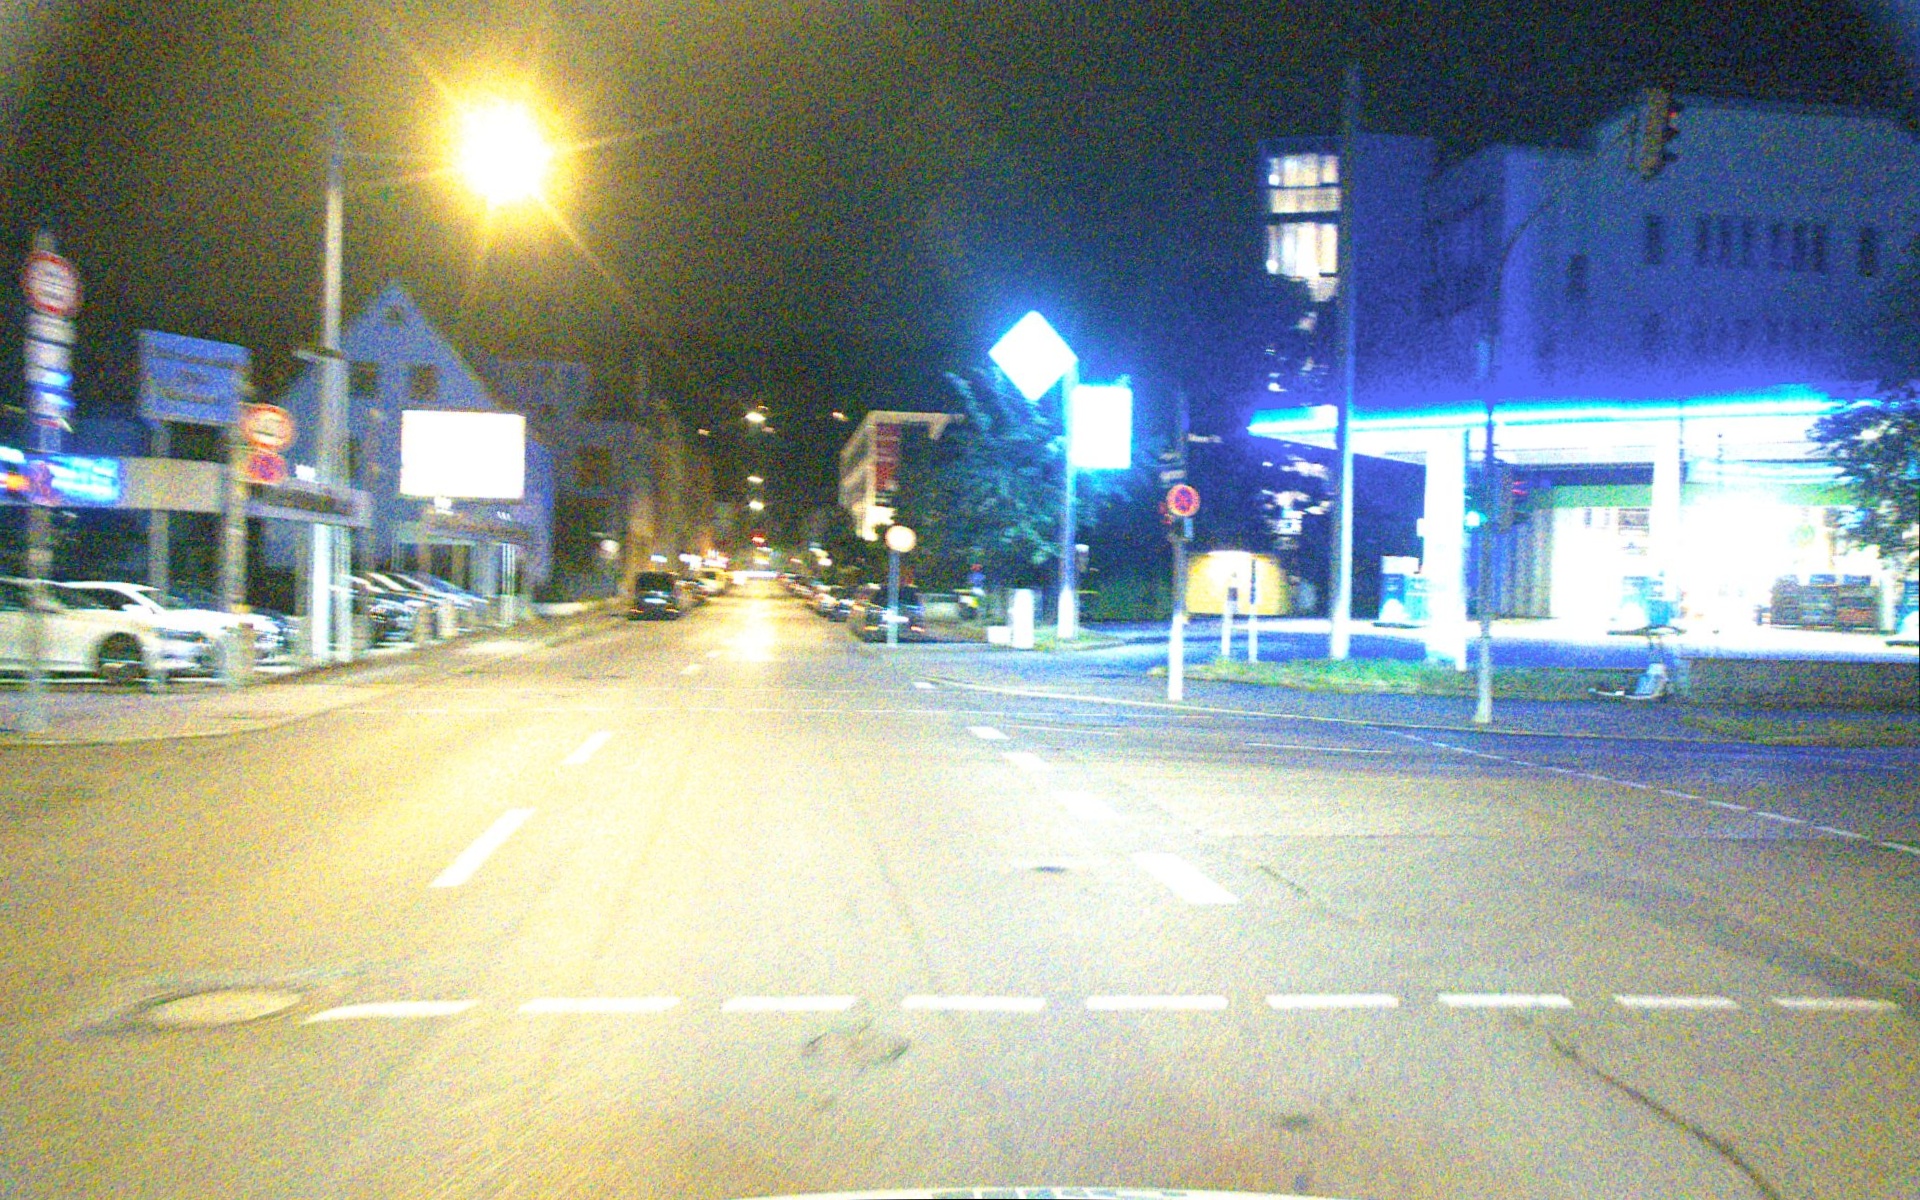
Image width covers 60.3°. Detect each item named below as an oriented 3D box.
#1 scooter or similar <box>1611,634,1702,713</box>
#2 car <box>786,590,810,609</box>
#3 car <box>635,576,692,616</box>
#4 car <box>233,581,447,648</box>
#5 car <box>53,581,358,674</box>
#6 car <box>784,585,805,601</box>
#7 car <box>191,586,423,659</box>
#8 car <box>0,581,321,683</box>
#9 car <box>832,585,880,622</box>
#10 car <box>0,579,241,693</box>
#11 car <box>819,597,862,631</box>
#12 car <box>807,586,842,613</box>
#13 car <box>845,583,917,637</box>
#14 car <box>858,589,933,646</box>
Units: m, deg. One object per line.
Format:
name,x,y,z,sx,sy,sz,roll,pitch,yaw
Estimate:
scooter or similar,10.663,1.102,25.307,1.668,1.111,0.705,0,1,-45
car,-14.035,-0.056,143.511,1.955,1.546,3.995,1,-1,-5
car,-11.759,-0.135,65.725,1.955,1.528,3.994,1,-1,-7
car,-14.593,0.351,39.148,4.355,1.475,1.997,1,-1,-7
car,-12.953,0.472,28.667,4.355,1.475,1.997,1,-1,-7
car,-16.642,-0.670,166.436,1.955,1.546,3.995,1,-1,-5
car,-14.292,0.488,36.426,4.355,1.475,1.997,1,-1,-7
car,-12.575,0.496,25.974,4.356,1.475,1.996,1,-1,-8
car,-4.536,0.170,71.796,1.955,1.546,3.995,1,-1,-5
car,-12.554,0.468,22.871,4.355,1.475,1.997,1,-1,-7
car,-5.723,0.679,78.753,1.955,1.546,3.995,1,-1,-5
car,-7.932,-0.019,96.867,1.955,1.546,3.995,1,-1,-5
car,-2.594,0.292,53.754,1.956,1.623,3.993,2,0,-8
car,-1.921,0.471,48.268,1.955,1.543,3.996,2,0,-5
